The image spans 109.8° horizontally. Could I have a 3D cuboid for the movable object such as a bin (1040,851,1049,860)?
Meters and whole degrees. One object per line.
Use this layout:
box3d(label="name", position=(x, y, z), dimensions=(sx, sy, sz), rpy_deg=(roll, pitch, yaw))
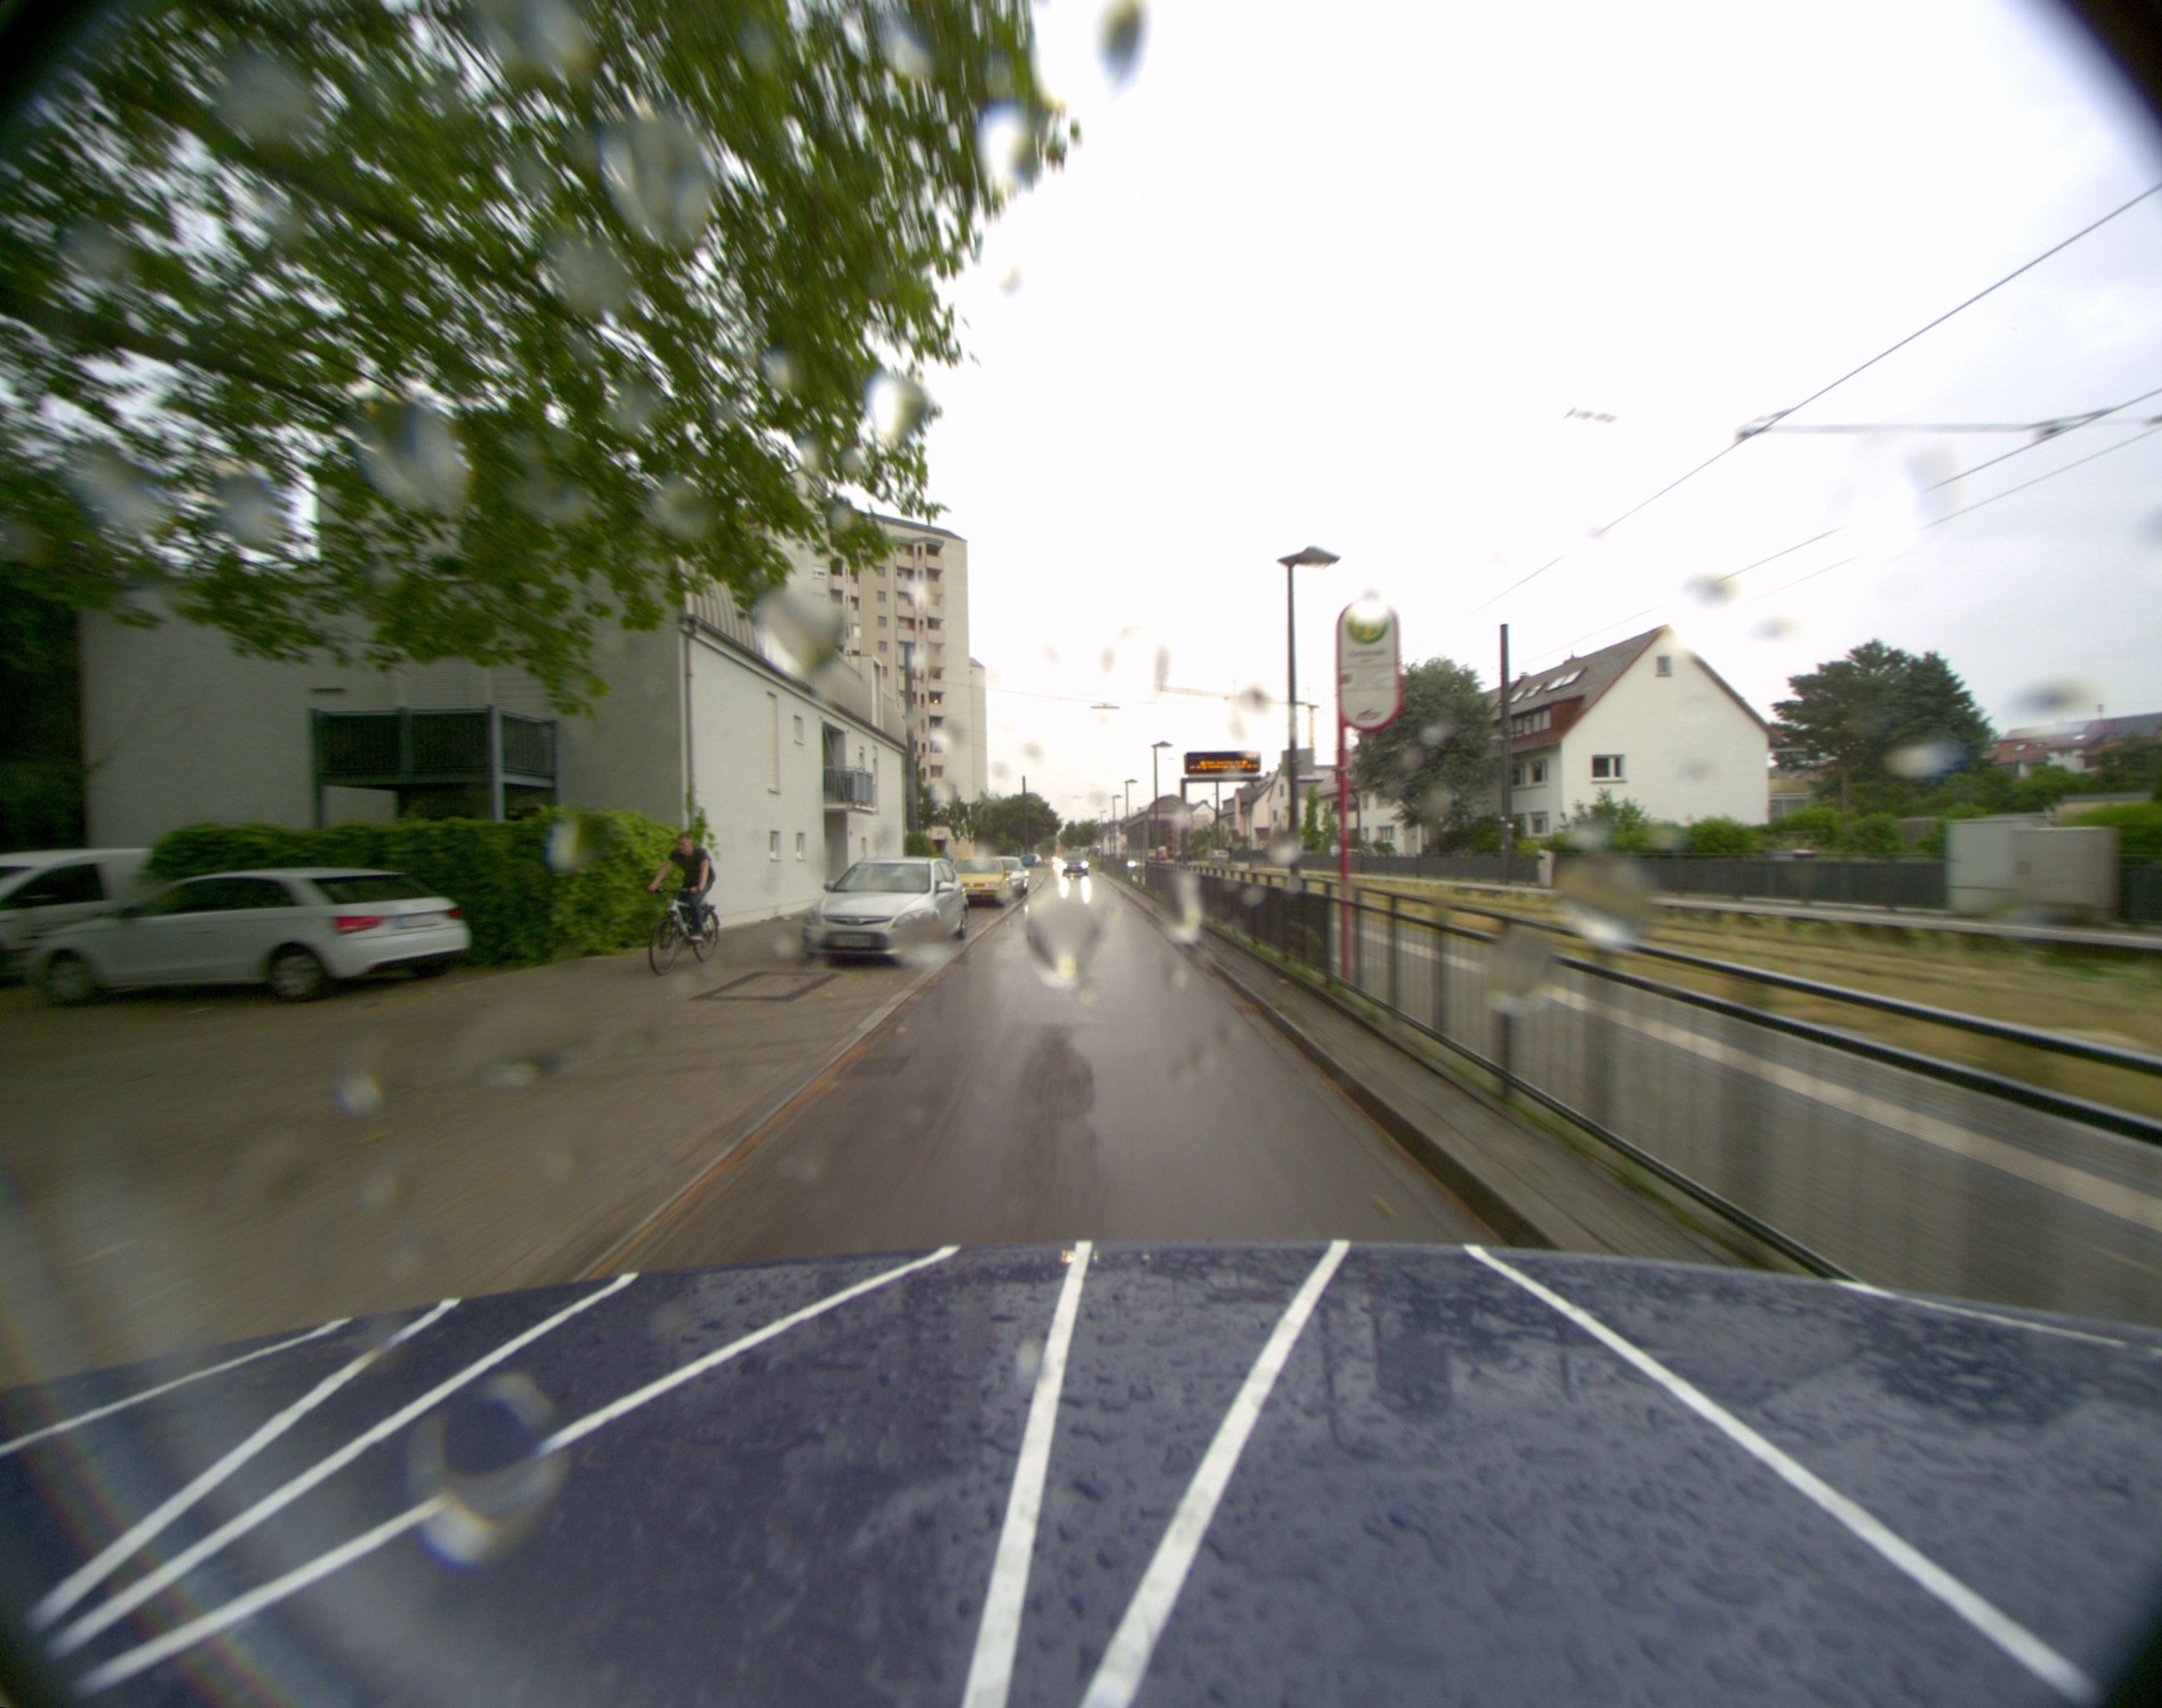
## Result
box3d(label="movable object such as a bin", position=(-6.573, 0.308, 135.572), dimensions=(1.165, 1.553, 1.372), rpy_deg=(-3, 2, -26))

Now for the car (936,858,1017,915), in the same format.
box3d(label="car", position=(-2.992, 0.891, 22.524), dimensions=(1.811, 1.397, 3.793), rpy_deg=(2, 1, 0))

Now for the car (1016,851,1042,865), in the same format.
box3d(label="car", position=(-6.092, 0.442, 88.535), dimensions=(2.570, 1.539, 1.598), rpy_deg=(-1, 1, -42))

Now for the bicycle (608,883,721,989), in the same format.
box3d(label="bicycle", position=(-5.196, 0.970, 9.617), dimensions=(0.538, 1.087, 1.947), rpy_deg=(-2, 1, -7))

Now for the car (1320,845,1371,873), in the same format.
box3d(label="car", position=(15.749, 0.259, 45.385), dimensions=(1.637, 1.485, 3.999), rpy_deg=(-2, 1, 1))

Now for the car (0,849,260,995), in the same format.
box3d(label="car", position=(-14.539, 0.890, 10.339), dimensions=(1.998, 1.784, 4.248), rpy_deg=(-2, 1, 1))

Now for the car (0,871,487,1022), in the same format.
box3d(label="car", position=(-9.386, 0.985, 8.728), dimensions=(3.705, 1.370, 1.760), rpy_deg=(-2, 1, 2))

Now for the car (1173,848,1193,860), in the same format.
box3d(label="car", position=(14.005, 0.013, 104.274), dimensions=(1.842, 1.418, 4.173), rpy_deg=(-2, 0, -4))

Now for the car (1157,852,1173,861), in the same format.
box3d(label="car", position=(13.842, 0.426, 125.290), dimensions=(1.999, 1.365, 3.841), rpy_deg=(-2, 1, -4))

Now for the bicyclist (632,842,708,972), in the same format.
box3d(label="bicyclist", position=(-5.171, 0.635, 9.596), dimensions=(0.535, 1.551, 0.772), rpy_deg=(-2, 2, -8))

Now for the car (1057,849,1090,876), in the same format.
box3d(label="car", position=(-0.529, 0.551, 51.803), dimensions=(1.999, 1.611, 3.998), rpy_deg=(-2, 1, -3))

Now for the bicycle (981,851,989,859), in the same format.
box3d(label="bicycle", position=(-11.789, 0.133, 93.302), dimensions=(0.663, 1.000, 2.057), rpy_deg=(-2, 1, -2))

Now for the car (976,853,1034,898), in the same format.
box3d(label="car", position=(-2.747, 0.736, 28.374), dimensions=(1.654, 1.397, 4.648), rpy_deg=(2, 1, 0))

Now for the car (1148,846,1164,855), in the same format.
box3d(label="car", position=(12.909, -0.550, 130.707), dimensions=(1.999, 1.401, 4.174), rpy_deg=(-2, -1, -4))

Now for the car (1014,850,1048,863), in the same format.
box3d(label="car", position=(-6.467, 0.319, 97.927), dimensions=(4.195, 1.538, 1.760), rpy_deg=(2, -1, -42))

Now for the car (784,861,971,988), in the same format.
box3d(label="car", position=(-2.915, 0.934, 11.733), dimensions=(1.811, 1.459, 3.793), rpy_deg=(2, 1, 0))

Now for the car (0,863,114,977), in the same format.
box3d(label="car", position=(-16.951, 1.046, 10.357), dimensions=(1.998, 1.645, 4.248), rpy_deg=(-2, 1, 1))

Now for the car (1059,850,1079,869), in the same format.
box3d(label="car", position=(-1.288, 0.563, 80.258), dimensions=(1.999, 1.762, 3.998), rpy_deg=(-2, 1, -1))
